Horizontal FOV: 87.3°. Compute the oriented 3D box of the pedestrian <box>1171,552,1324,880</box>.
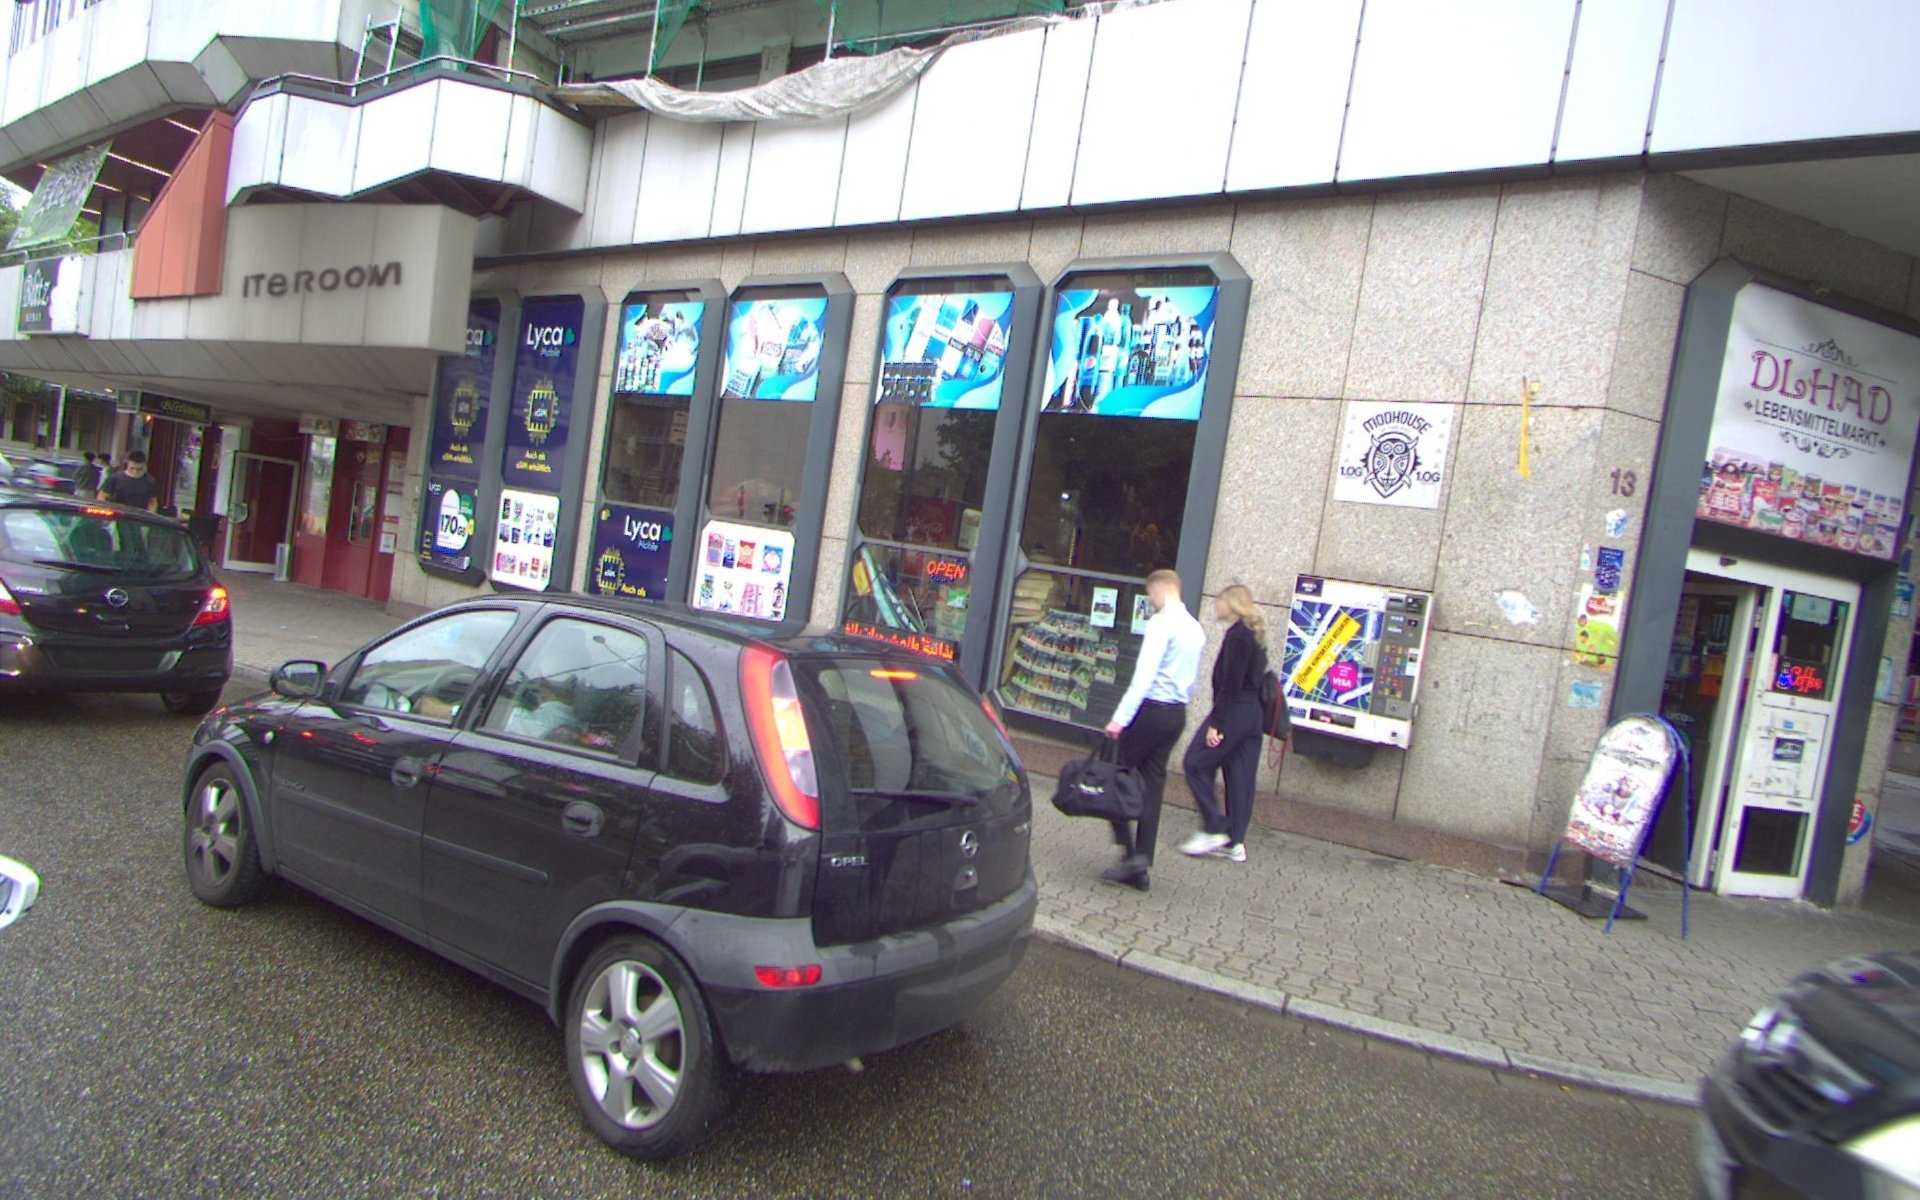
[{"bbox_3d":[1.875,0.706,6.543,0.629,1.961,0.736,6,4,31],"label":"pedestrian"}]

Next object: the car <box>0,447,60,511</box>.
[{"bbox_3d":[-26.450,-3.445,26.337,1.593,1.503,3.911,6,-2,19],"label":"car"}]

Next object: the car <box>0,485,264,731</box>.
[{"bbox_3d":[-7.064,-0.112,7.360,3.776,1.446,1.620,8,-1,29],"label":"car"}]

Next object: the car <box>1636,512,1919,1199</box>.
[{"bbox_3d":[3.346,1.077,1.088,4.095,1.786,1.763,8,-1,32],"label":"car"}]

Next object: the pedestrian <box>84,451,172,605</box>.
[{"bbox_3d":[-10.441,-0.888,12.625,0.763,1.841,0.739,7,4,43],"label":"pedestrian"}]

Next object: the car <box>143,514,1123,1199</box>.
[{"bbox_3d":[-1.417,0.634,3.914,3.563,1.446,1.609,8,-1,33],"label":"car"}]

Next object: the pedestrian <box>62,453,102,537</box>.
[{"bbox_3d":[-18.632,-2.223,21.356,0.443,1.704,0.426,6,1,30],"label":"pedestrian"}]

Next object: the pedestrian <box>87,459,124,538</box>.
[{"bbox_3d":[-18.685,-2.221,22.000,0.496,1.660,0.396,6,1,32],"label":"pedestrian"}]

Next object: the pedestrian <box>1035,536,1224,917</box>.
[{"bbox_3d":[0.978,0.679,5.709,0.629,1.957,0.737,6,-1,31],"label":"pedestrian"}]
